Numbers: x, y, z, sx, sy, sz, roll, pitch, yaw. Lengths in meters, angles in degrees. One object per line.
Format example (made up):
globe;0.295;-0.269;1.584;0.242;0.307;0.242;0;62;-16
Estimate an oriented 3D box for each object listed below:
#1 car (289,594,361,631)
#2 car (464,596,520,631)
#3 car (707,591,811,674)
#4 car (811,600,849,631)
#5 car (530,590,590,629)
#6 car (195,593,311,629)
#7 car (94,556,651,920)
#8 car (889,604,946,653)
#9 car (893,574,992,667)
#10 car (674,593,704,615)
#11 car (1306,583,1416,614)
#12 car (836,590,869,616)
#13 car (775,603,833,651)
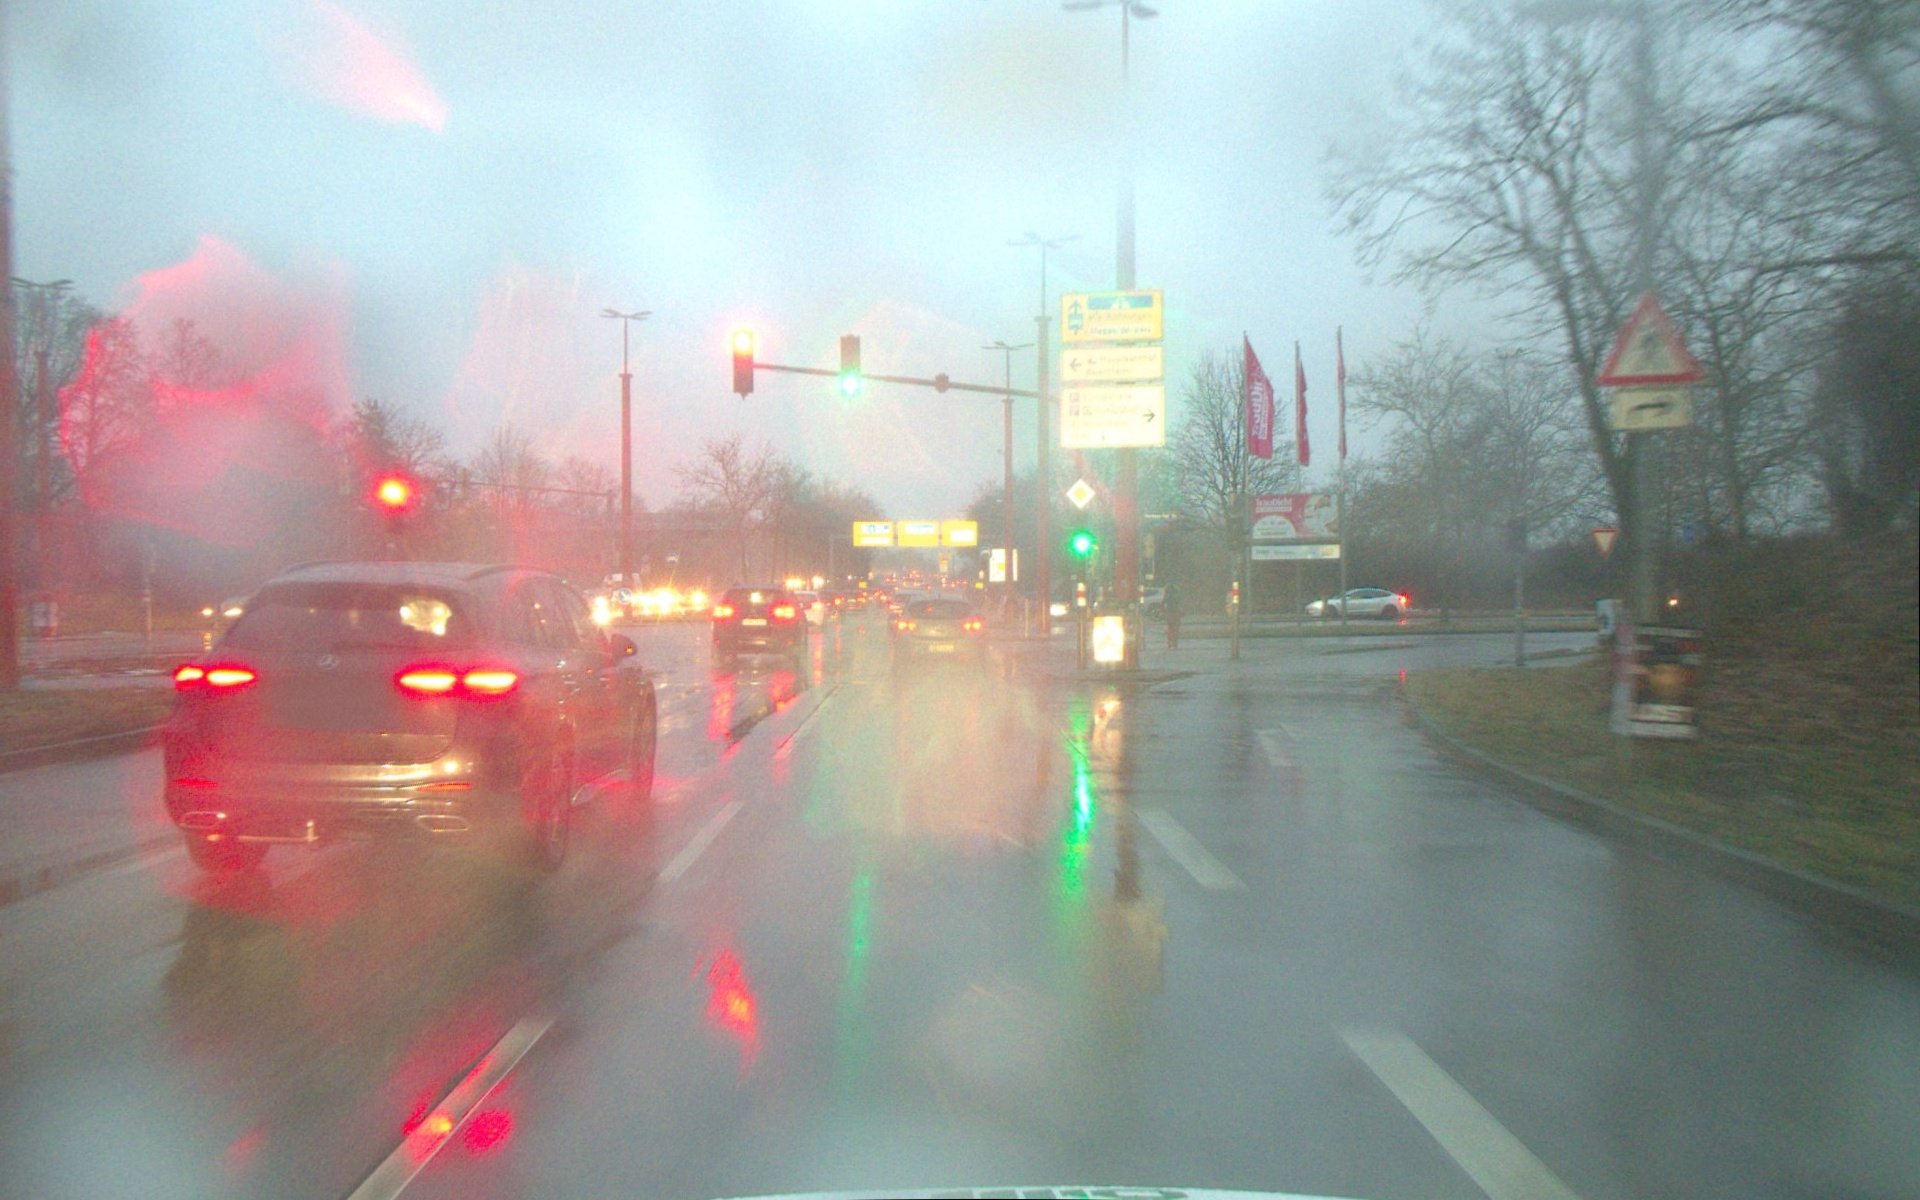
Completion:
car;-27.143;0.499;70.814;1.586;1.521;4.016;0;0;-1
car;-20.506;0.572;72.529;1.618;1.445;3.325;0;0;-2
car;-4.221;0.646;35.243;1.785;1.677;3.999;0;0;-1
car;-6.004;0.699;76.712;1.474;1.362;3.999;0;0;-1
car;-17.451;0.399;72.317;1.820;1.609;4.077;0;0;-3
car;-31.856;0.481;74.625;1.960;1.556;4.467;0;0;36
car;-3.132;0.633;9.891;1.785;1.677;4.466;0;0;-1
car;-1.537;1.025;60.126;1.953;1.691;3.999;1;-1;-1
car;-0.343;0.370;32.359;1.785;1.677;4.465;-1;0;-1
car;-21.030;0.313;128.495;1.734;1.614;4.032;0;0;-2
car;18.494;-0.087;76.489;4.642;1.400;1.883;0;0;0
car;-6.579;0.166;101.206;1.785;1.530;3.999;0;0;-1
car;-5.675;0.967;60.663;1.785;1.677;3.999;0;0;-1
